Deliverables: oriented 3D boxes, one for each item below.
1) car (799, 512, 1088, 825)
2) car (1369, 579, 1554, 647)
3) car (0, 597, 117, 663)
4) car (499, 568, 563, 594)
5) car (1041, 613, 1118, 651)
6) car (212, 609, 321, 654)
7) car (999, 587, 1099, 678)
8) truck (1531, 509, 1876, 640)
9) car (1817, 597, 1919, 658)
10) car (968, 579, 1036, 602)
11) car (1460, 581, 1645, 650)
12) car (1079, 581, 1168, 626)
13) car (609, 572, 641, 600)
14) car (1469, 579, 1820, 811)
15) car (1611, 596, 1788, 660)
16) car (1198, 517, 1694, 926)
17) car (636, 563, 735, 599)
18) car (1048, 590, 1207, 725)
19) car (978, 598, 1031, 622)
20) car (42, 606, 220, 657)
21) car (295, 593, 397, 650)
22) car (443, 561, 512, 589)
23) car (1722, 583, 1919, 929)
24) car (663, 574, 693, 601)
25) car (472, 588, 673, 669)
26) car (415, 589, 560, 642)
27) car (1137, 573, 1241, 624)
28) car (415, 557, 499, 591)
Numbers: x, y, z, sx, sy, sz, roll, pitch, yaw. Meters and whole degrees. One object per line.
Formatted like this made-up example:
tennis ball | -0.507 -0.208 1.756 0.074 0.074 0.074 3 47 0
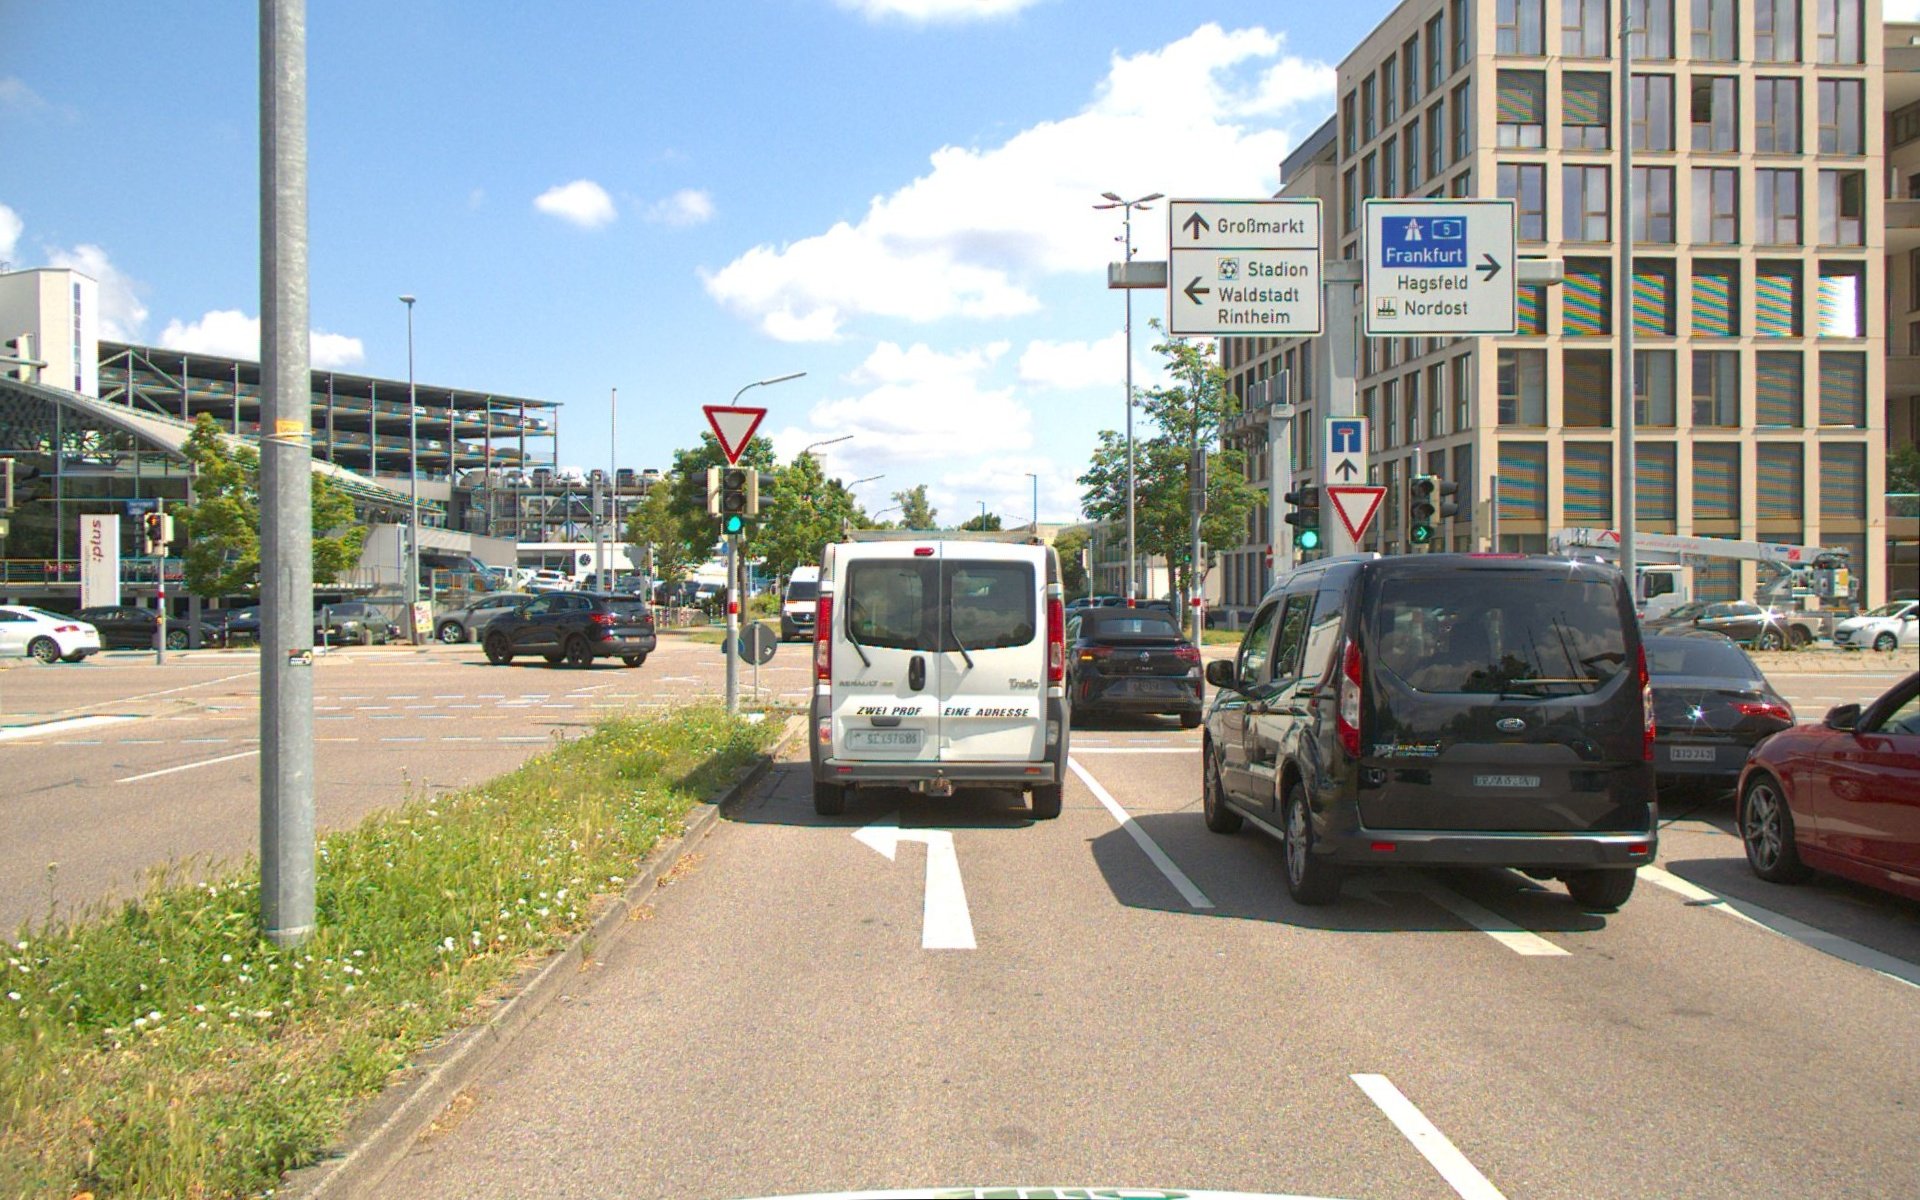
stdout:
car | -0.157 0.478 13.453 1.933 2.096 4.563 0 0 -1
car | 14.827 0.390 49.040 4.883 1.870 1.996 1 -1 -9
car | -22.128 0.678 38.585 3.910 1.467 1.858 1 -1 -6
car | -28.113 -1.208 108.508 3.918 1.579 1.759 1 -1 -13
car | 6.591 1.770 91.613 3.913 2.049 1.996 1 -1 -9
car | -21.969 0.986 52.595 1.864 1.320 4.584 1 -1 -6
car | 1.702 0.612 32.609 1.737 1.658 4.000 0 0 0
truck | 22.319 -0.705 49.791 9.569 3.617 2.670 1 -1 -9
car | 26.539 0.794 46.398 4.115 1.655 1.826 1 -1 -5
car | 3.953 -0.892 156.100 6.214 2.049 2.571 1 -1 -3
car | 15.156 0.404 42.403 4.120 1.655 1.824 1 -1 -9
car | 7.851 0.198 79.578 3.913 2.049 1.996 1 -1 -9
car | -20.573 -0.837 101.652 1.531 1.579 3.597 1 -1 -6
car | 5.741 0.738 14.439 1.819 1.684 4.222 -2 -1 9
car | 20.492 0.783 45.928 4.114 1.655 1.827 1 -1 -3
car | 2.613 0.592 9.895 1.786 1.938 4.000 0 0 0
car | -18.015 -1.244 108.683 6.264 2.139 1.762 1 -1 -6
car | 2.187 0.722 22.530 1.737 1.658 3.999 0 0 0
car | 3.517 0.780 130.918 3.911 1.780 1.997 1 -1 -7
car | -26.179 1.012 52.363 4.649 1.490 1.793 -1 -3 -7
car | -19.520 0.683 52.770 1.864 1.707 4.584 1 -1 -6
car | -29.503 -1.518 101.183 3.918 1.579 1.759 1 -1 -13
car | 5.596 0.777 8.190 1.820 1.684 4.219 1 -1 2
car | -17.236 -0.761 101.147 1.531 1.579 3.597 1 -1 -6
car | -8.396 0.606 35.749 4.177 1.646 1.773 0 -1 32
car | -16.289 0.536 57.192 4.485 1.707 1.905 1 -1 -4
car | 9.615 -0.039 69.561 3.913 2.049 1.996 1 -1 -9
car | -29.199 -1.514 96.053 4.356 1.833 1.762 1 -1 -7
